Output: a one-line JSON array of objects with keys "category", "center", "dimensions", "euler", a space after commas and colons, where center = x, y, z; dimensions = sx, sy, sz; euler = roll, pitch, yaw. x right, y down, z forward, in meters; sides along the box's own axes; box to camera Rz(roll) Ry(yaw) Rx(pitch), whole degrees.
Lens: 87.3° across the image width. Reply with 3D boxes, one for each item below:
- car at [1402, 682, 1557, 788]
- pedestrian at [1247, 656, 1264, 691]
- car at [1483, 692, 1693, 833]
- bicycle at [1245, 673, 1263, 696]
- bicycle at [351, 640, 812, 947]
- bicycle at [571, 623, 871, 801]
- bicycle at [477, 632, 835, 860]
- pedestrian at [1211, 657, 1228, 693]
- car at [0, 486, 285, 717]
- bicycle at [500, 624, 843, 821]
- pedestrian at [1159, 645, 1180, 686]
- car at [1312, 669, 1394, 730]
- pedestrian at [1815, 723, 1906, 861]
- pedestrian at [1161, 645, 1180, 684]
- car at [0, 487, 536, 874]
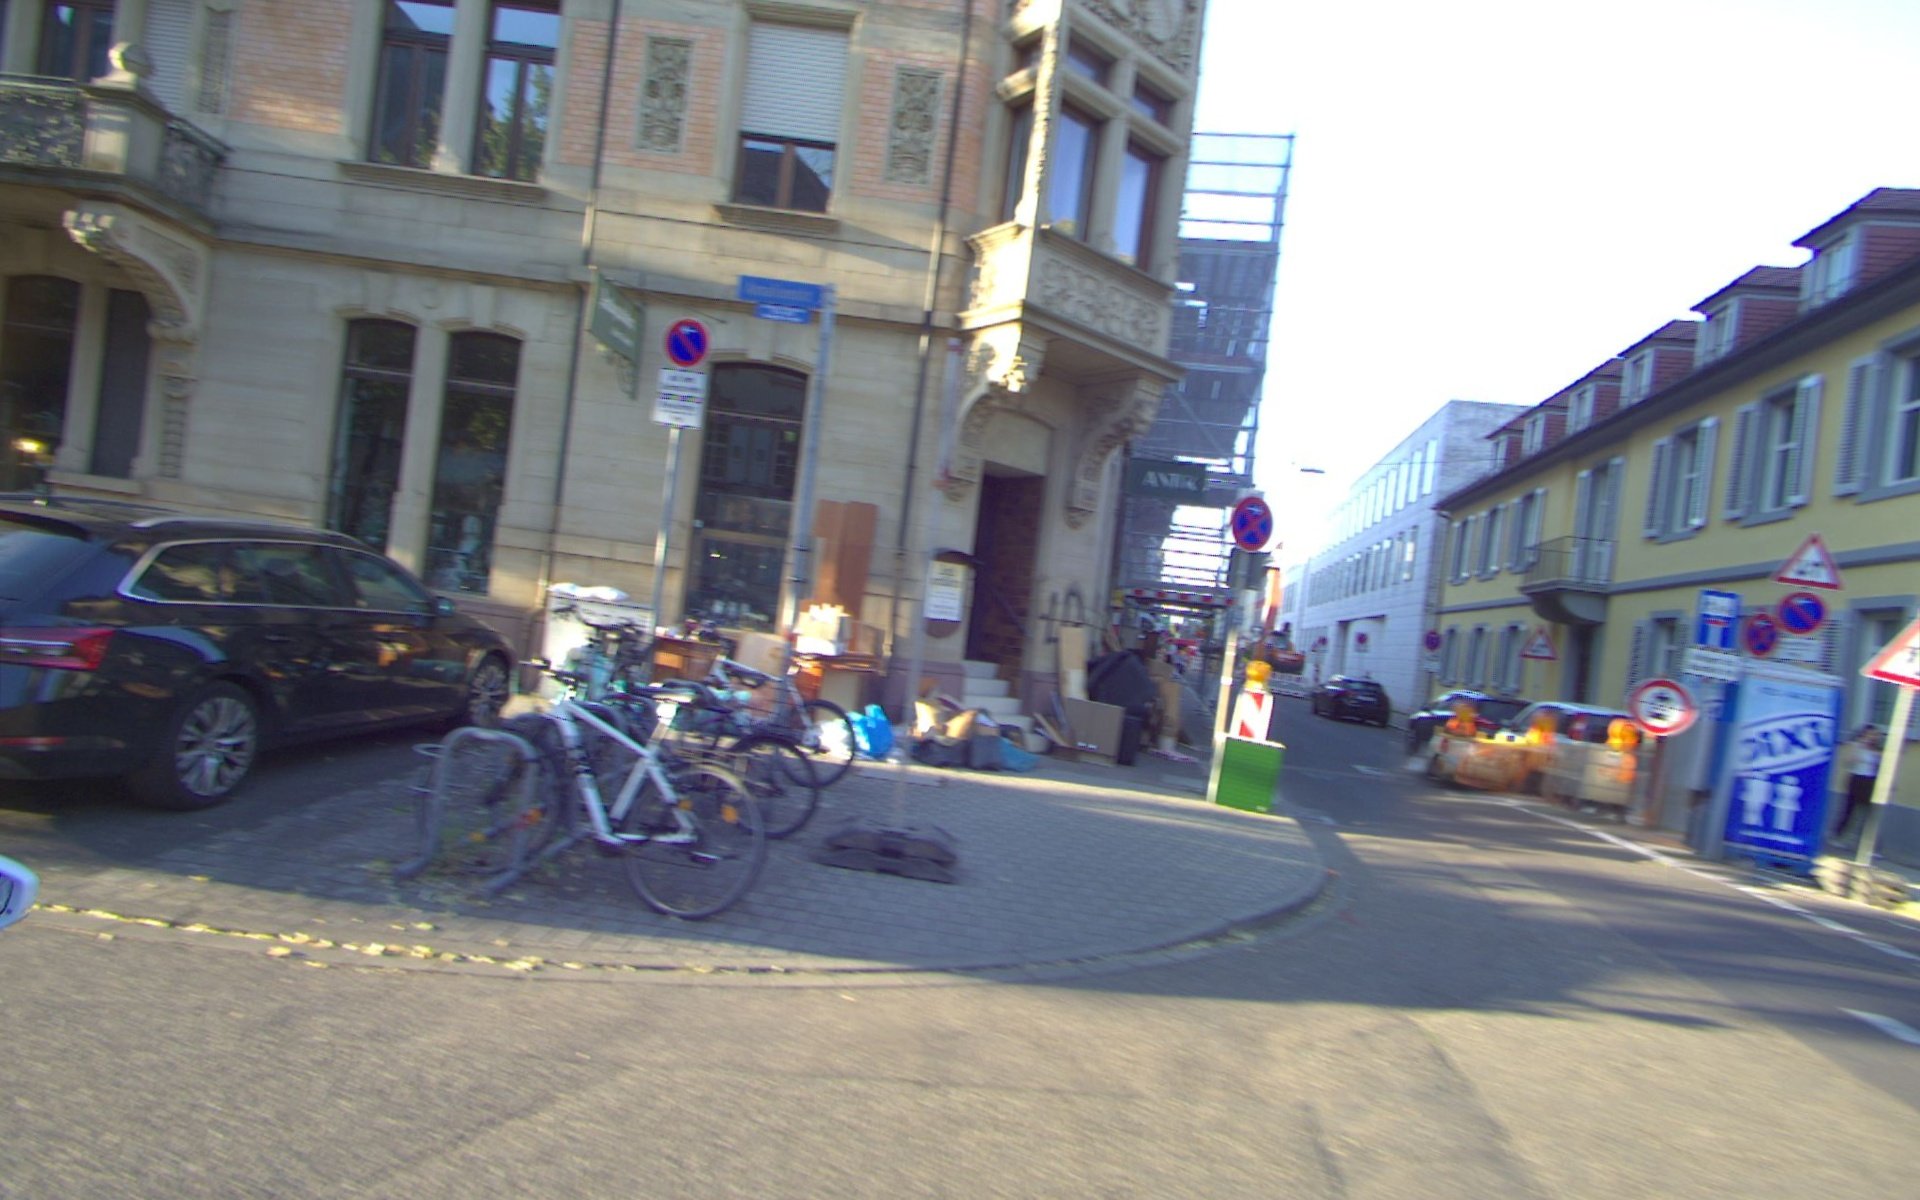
[{"category": "car", "center": [10.115, 2.559, 19.903], "dimensions": [1.516, 1.538, 3.982], "euler": [7, -1, 11]}, {"category": "pedestrian", "center": [13.033, 3.231, 44.340], "dimensions": [0.496, 1.479, 0.513], "euler": [7, 0, 12]}, {"category": "car", "center": [9.483, 2.384, 15.490], "dimensions": [1.516, 1.538, 3.224], "euler": [9, -1, 11]}, {"category": "bicycle", "center": [12.980, 3.731, 44.433], "dimensions": [0.496, 0.894, 1.478], "euler": [7, -1, 11]}, {"category": "bicycle", "center": [-1.688, 0.838, 4.620], "dimensions": [1.798, 1.060, 0.571], "euler": [8, 0, 4]}, {"category": "bicycle", "center": [-1.792, 0.839, 7.696], "dimensions": [2.071, 1.053, 0.465], "euler": [8, 0, 0]}, {"category": "bicycle", "center": [-1.723, 0.818, 5.891], "dimensions": [1.798, 1.026, 0.639], "euler": [7, 0, 0]}, {"category": "pedestrian", "center": [11.041, 3.183, 42.843], "dimensions": [0.496, 1.479, 0.513], "euler": [7, 0, 11]}, {"category": "car", "center": [-7.112, -0.087, 6.797], "dimensions": [1.833, 1.497, 4.541], "euler": [7, 0, 1]}, {"category": "bicycle", "center": [-1.935, 0.814, 6.933], "dimensions": [2.071, 1.026, 0.639], "euler": [8, 0, 0]}, {"category": "pedestrian", "center": [9.446, 2.948, 45.449], "dimensions": [0.665, 1.753, 0.700], "euler": [8, 0, 8]}, {"category": "car", "center": [12.290, 3.075, 31.637], "dimensions": [1.690, 1.538, 3.224], "euler": [7, -1, 11]}, {"category": "pedestrian", "center": [11.533, 2.431, 12.901], "dimensions": [0.460, 1.614, 0.673], "euler": [7, 0, 14]}, {"category": "pedestrian", "center": [10.331, 3.168, 49.431], "dimensions": [0.500, 1.786, 0.508], "euler": [7, 0, -30]}, {"category": "car", "center": [-4.634, 0.234, 6.221], "dimensions": [1.876, 1.530, 4.541], "euler": [7, 0, 1]}]
